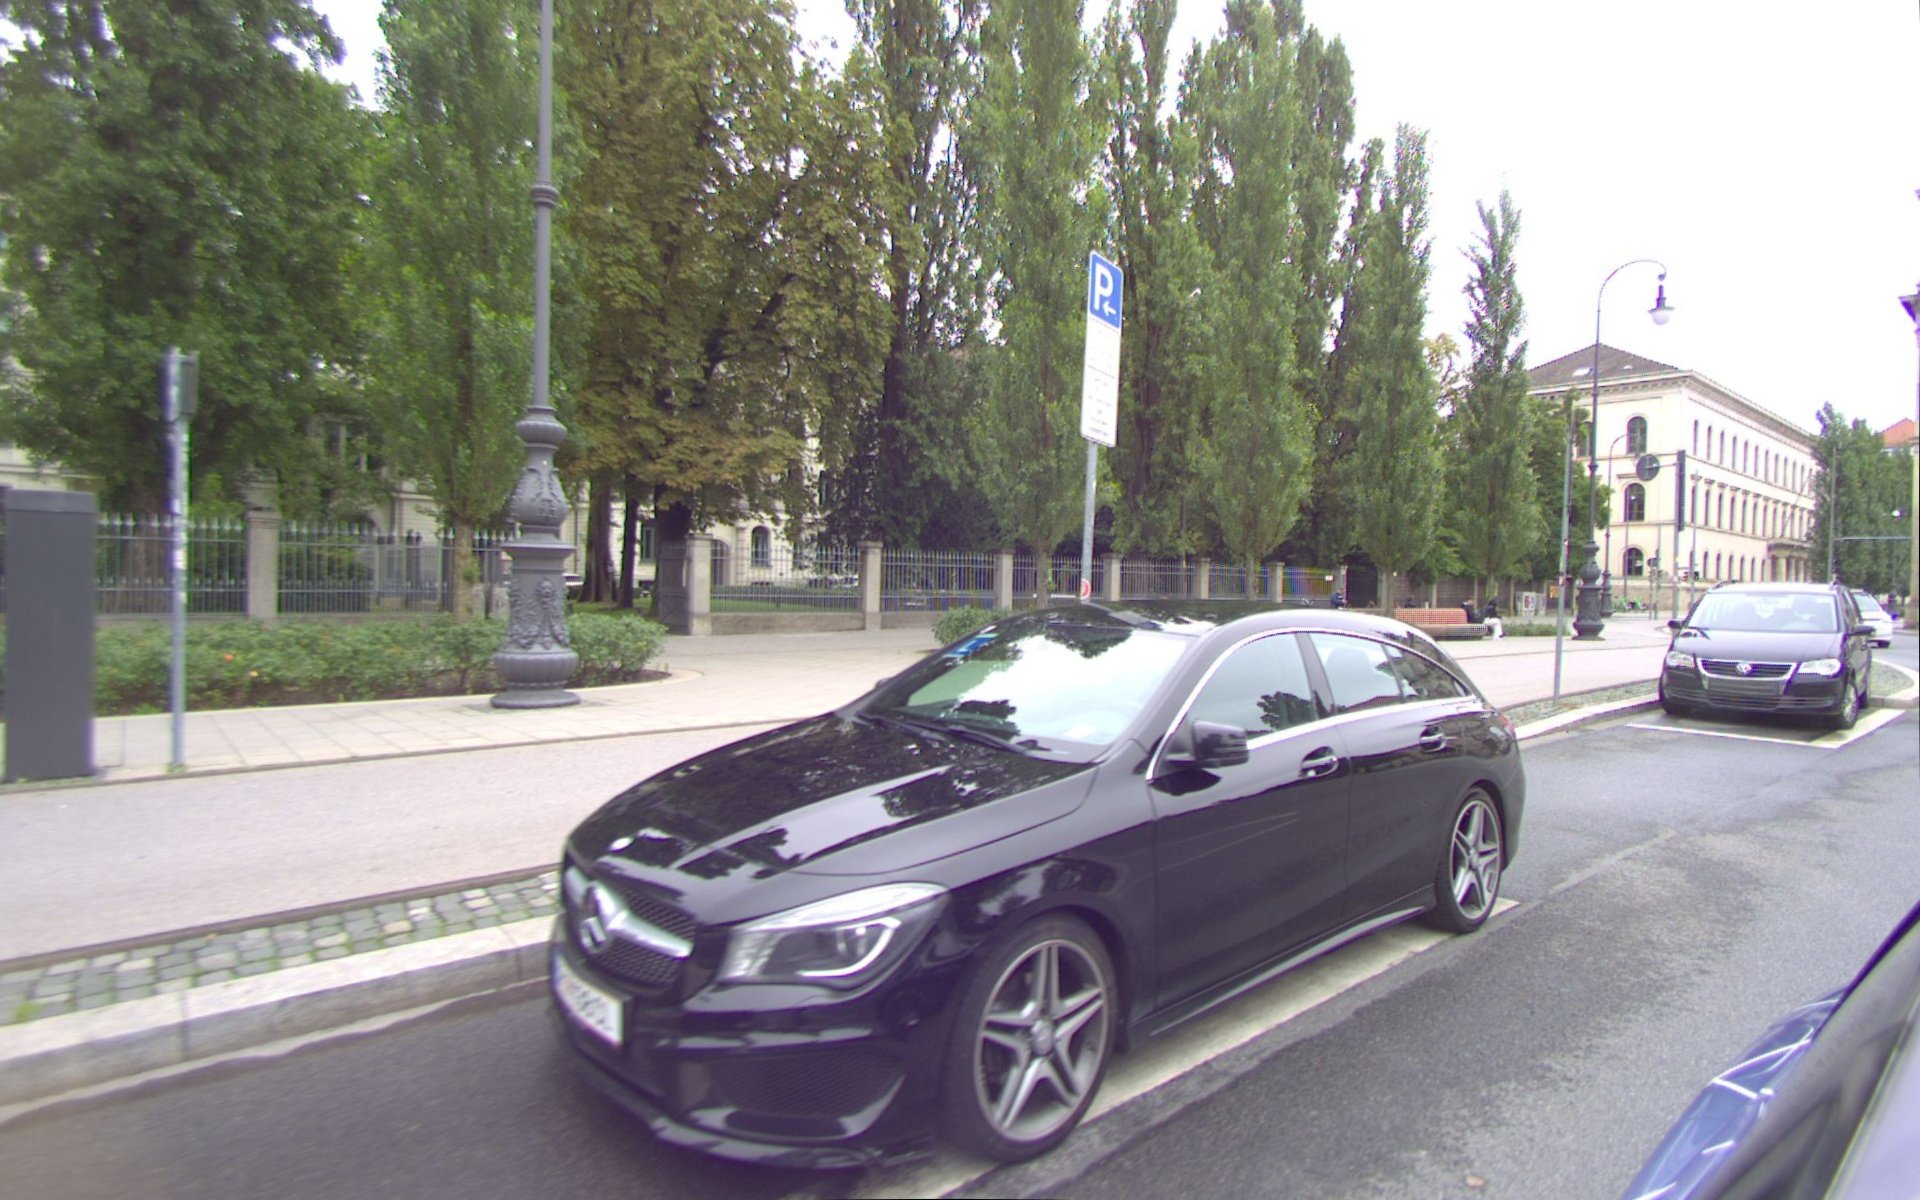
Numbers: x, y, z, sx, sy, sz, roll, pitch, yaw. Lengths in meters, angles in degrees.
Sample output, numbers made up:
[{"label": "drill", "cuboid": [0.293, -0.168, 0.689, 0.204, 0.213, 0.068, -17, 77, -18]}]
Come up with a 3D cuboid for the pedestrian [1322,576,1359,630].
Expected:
[{"label": "pedestrian", "cuboid": [12.738, 0.090, 33.898, 0.869, 1.793, 0.811, 0, 1, -42]}]

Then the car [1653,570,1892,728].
[{"label": "car", "cuboid": [10.308, 0.483, 12.714, 4.296, 1.627, 1.843, 0, 2, -45]}]

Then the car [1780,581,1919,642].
[{"label": "car", "cuboid": [30.989, 0.337, 35.433, 2.043, 1.951, 5.683, 0, 1, 23]}]

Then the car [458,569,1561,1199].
[{"label": "car", "cuboid": [0.590, 0.624, 4.061, 4.361, 1.409, 1.845, 0, 1, -41]}]
